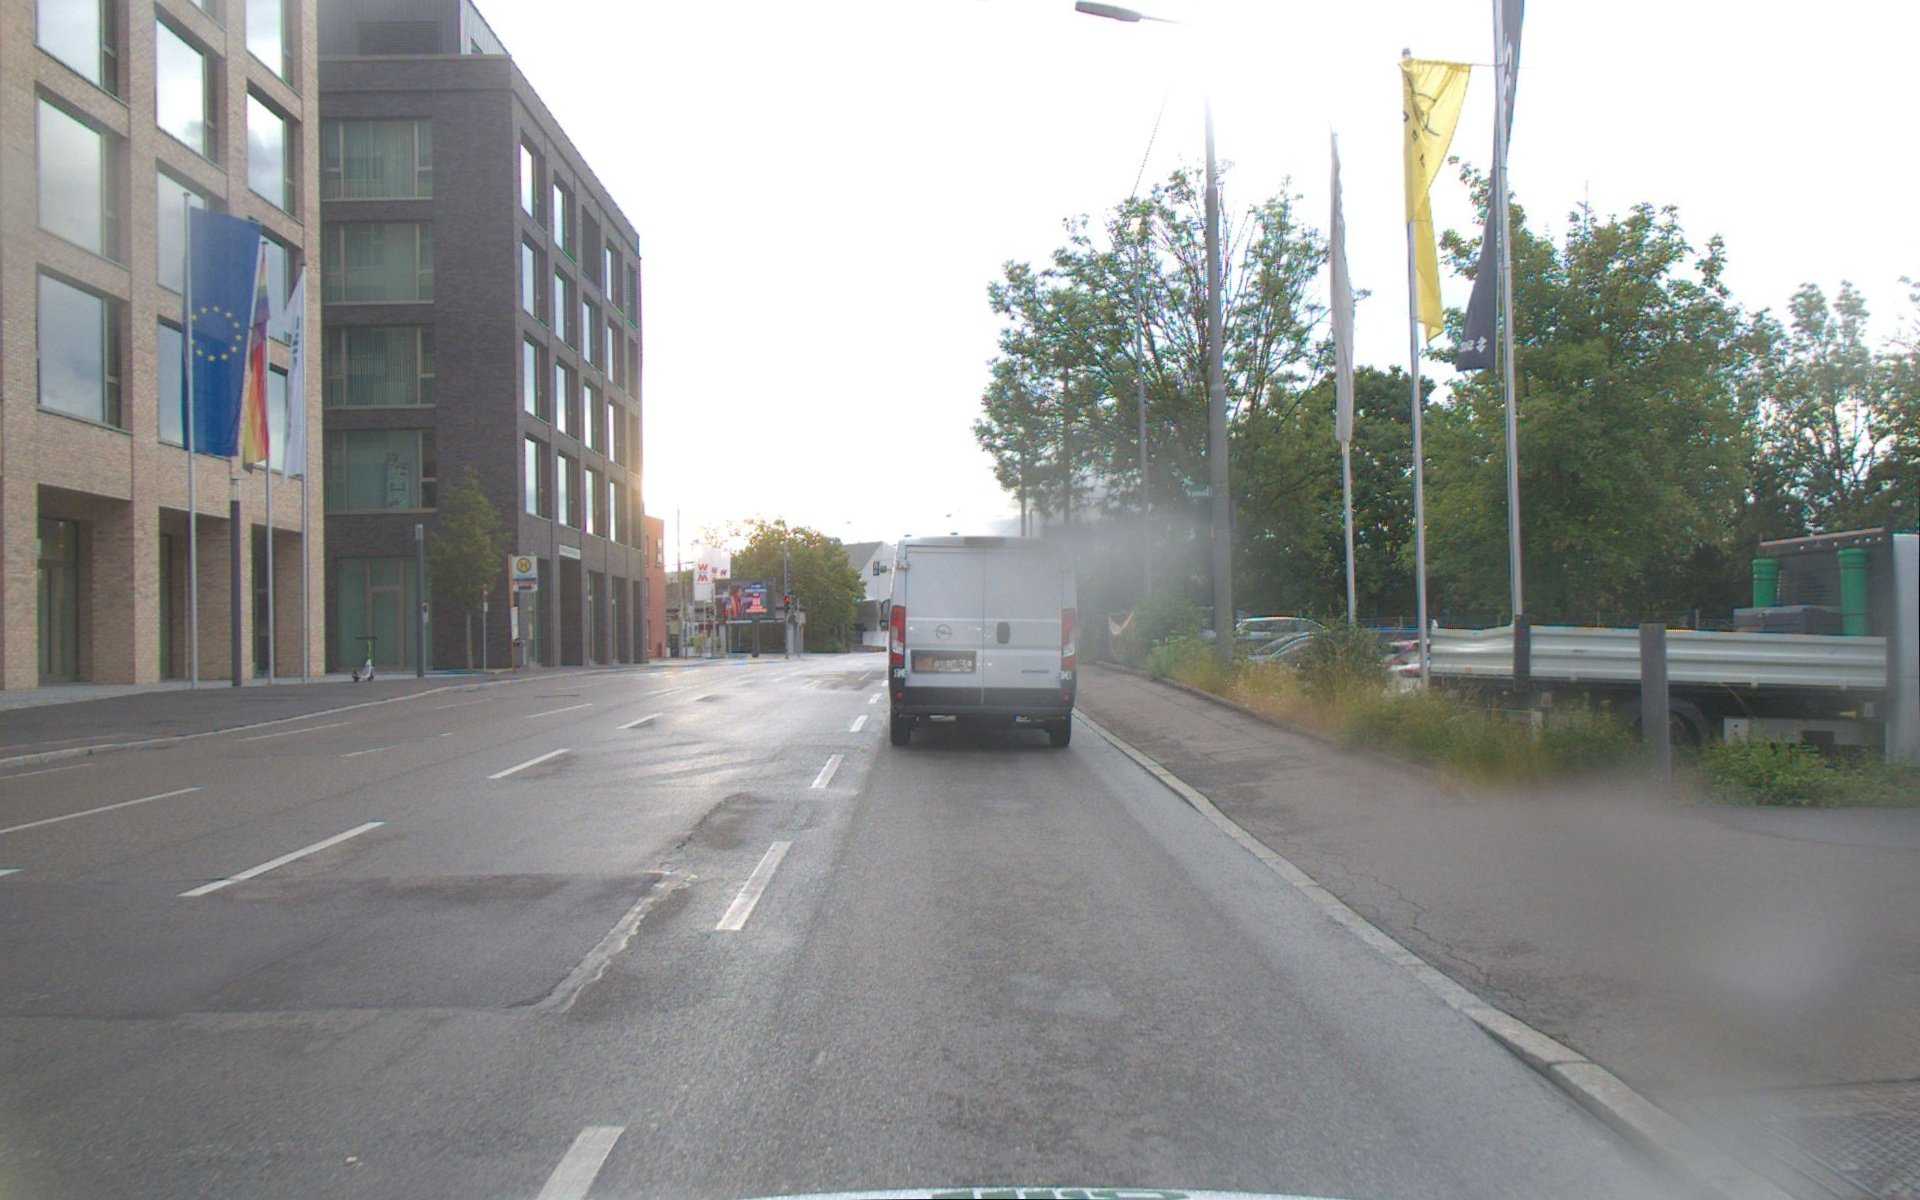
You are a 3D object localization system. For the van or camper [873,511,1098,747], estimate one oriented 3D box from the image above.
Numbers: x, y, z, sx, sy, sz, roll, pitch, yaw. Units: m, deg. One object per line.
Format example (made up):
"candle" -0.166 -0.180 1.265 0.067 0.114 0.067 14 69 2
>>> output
"van or camper" 0.259 0.293 19.528 2.292 2.398 5.199 0 0 0

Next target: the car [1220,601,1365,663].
"car" 10.134 0.965 50.617 3.911 1.548 1.801 -5 0 -6

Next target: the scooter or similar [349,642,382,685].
"scooter or similar" -15.382 1.644 42.823 0.343 1.090 1.428 0 -2 0

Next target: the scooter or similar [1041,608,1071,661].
"scooter or similar" 2.950 1.044 50.846 0.428 1.615 1.263 0 0 -23

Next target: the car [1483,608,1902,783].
"car" 7.577 0.945 17.313 3.618 1.700 1.735 0 -1 -5

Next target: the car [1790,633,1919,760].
"car" 12.289 1.135 20.064 3.614 1.443 1.630 0 0 2

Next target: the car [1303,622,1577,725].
"car" 7.894 1.192 27.454 4.045 1.617 1.760 0 0 -1

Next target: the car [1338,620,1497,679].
"car" 12.738 1.358 46.174 3.910 1.548 1.801 0 0 -6

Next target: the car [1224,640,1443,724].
"car" 7.310 1.585 32.611 3.906 1.548 1.803 0 0 -1

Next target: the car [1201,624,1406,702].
"car" 7.228 1.314 35.025 3.910 1.548 1.801 0 0 -6

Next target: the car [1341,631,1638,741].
"car" 7.887 1.260 24.860 3.906 1.534 1.760 0 0 -1

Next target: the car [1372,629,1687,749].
"car" 7.669 1.178 22.533 3.687 1.520 1.811 0 0 1

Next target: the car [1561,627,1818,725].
"car" 12.143 1.244 27.679 3.615 1.546 1.557 0 -1 -1

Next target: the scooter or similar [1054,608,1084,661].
"scooter or similar" 3.357 1.054 51.029 0.428 1.592 1.264 0 0 -22

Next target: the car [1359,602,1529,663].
"car" 12.705 0.844 43.568 3.910 1.548 1.801 0 0 -6

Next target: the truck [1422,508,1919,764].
"truck" 6.932 0.275 14.580 5.045 2.049 2.344 0 0 -3
